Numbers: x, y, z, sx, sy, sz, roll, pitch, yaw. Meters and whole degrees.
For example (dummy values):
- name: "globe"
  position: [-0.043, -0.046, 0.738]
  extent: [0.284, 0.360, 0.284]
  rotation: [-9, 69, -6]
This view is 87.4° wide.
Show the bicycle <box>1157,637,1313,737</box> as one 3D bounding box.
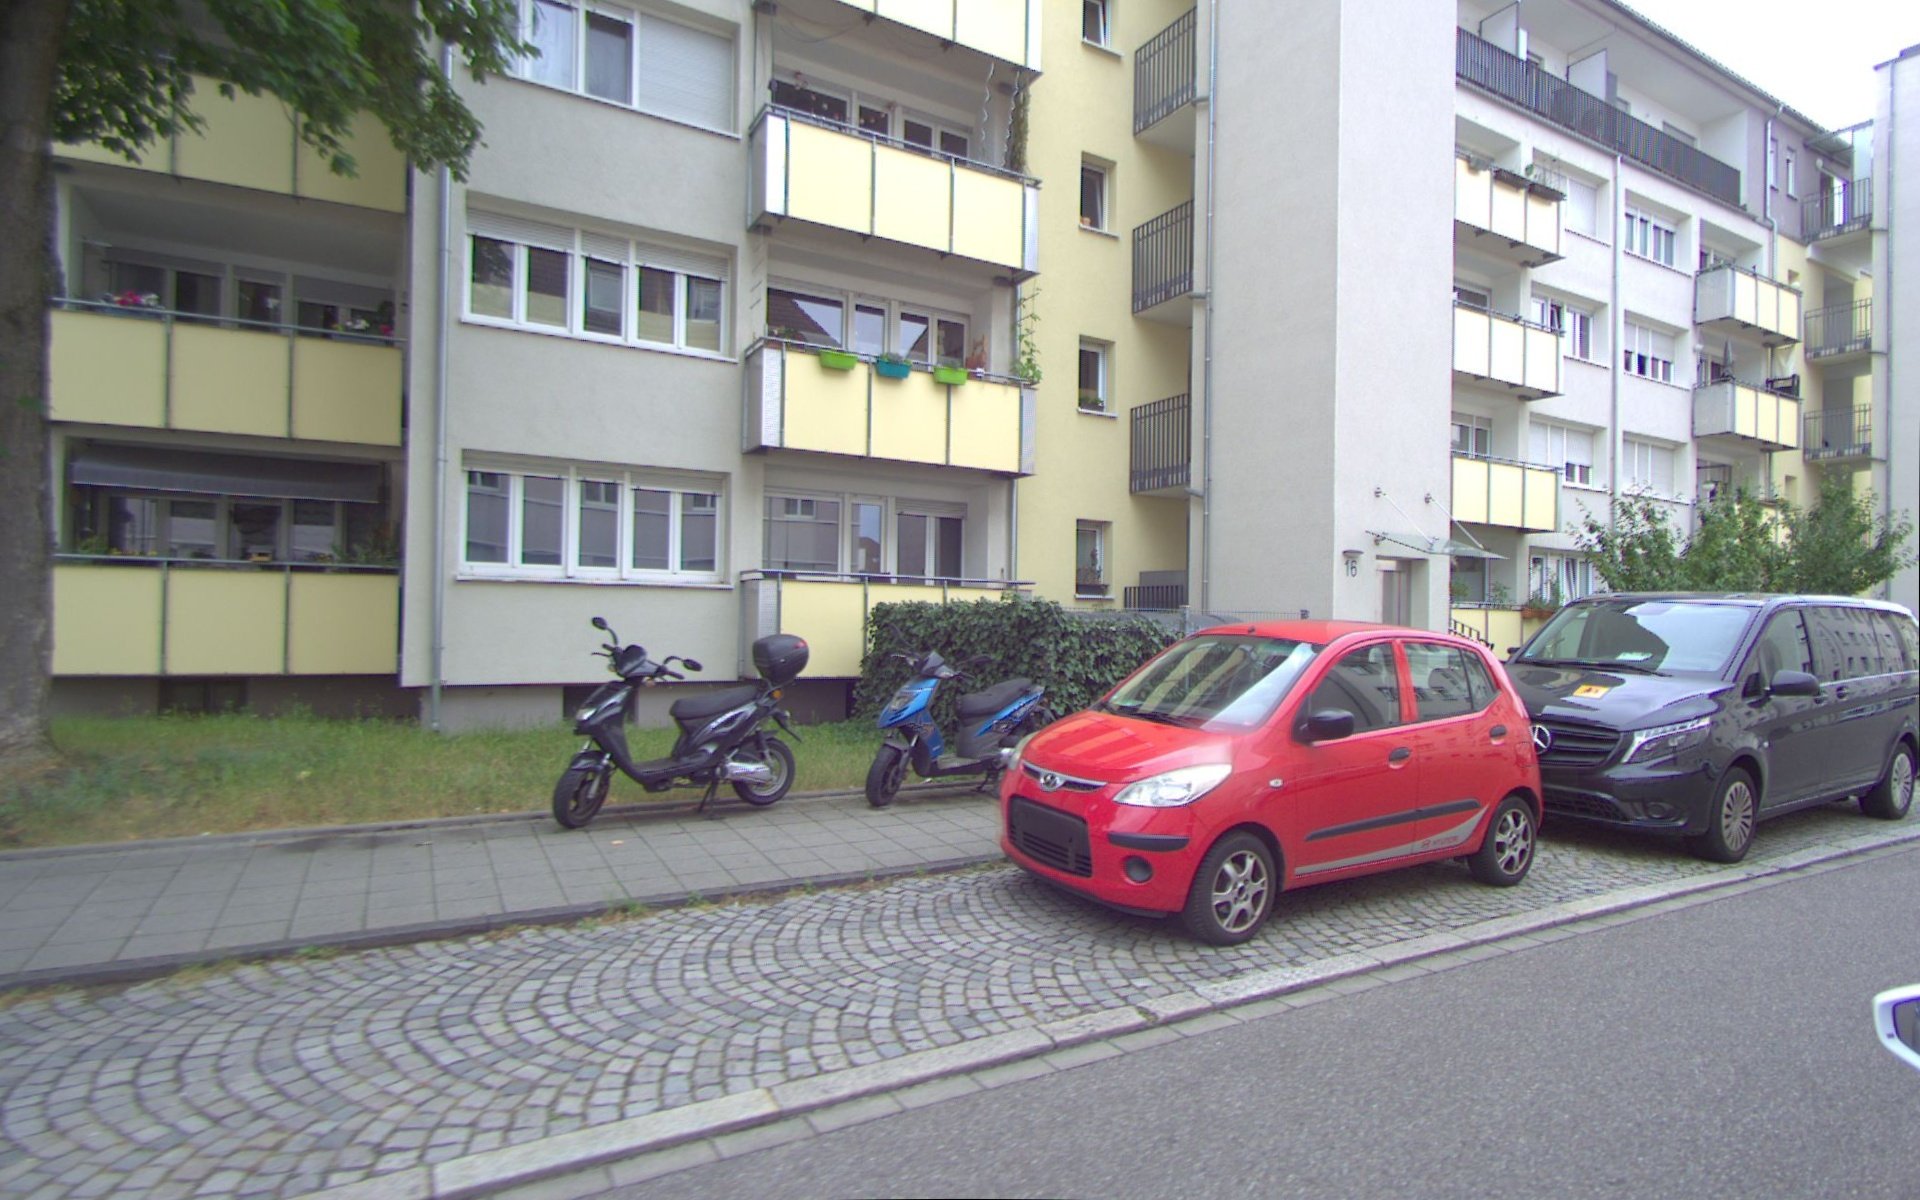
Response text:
- name: "bicycle"
  position: [3.534, 1.083, 13.117]
  extent: [0.517, 1.141, 2.195]
  rotation: [1, -1, -31]

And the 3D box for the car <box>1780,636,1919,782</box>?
- name: "car"
  position: [11.660, 1.204, 11.840]
  extent: [4.212, 1.478, 1.820]
  rotation: [1, 0, -32]

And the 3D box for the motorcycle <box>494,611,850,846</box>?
- name: "motorcycle"
  position: [-1.912, 0.791, 6.822]
  extent: [2.203, 1.374, 0.674]
  rotation: [1, 2, -30]

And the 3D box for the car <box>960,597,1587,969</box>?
- name: "car"
  position: [1.954, 0.845, 6.024]
  extent: [3.600, 1.590, 1.555]
  rotation: [1, 2, -31]

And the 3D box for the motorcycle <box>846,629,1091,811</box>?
- name: "motorcycle"
  position: [0.084, 0.890, 7.907]
  extent: [1.811, 1.247, 0.633]
  rotation: [1, 3, -30]

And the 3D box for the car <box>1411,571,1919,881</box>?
- name: "car"
  position: [6.170, 0.817, 8.411]
  extent: [4.975, 1.929, 1.868]
  rotation: [1, 2, -32]
